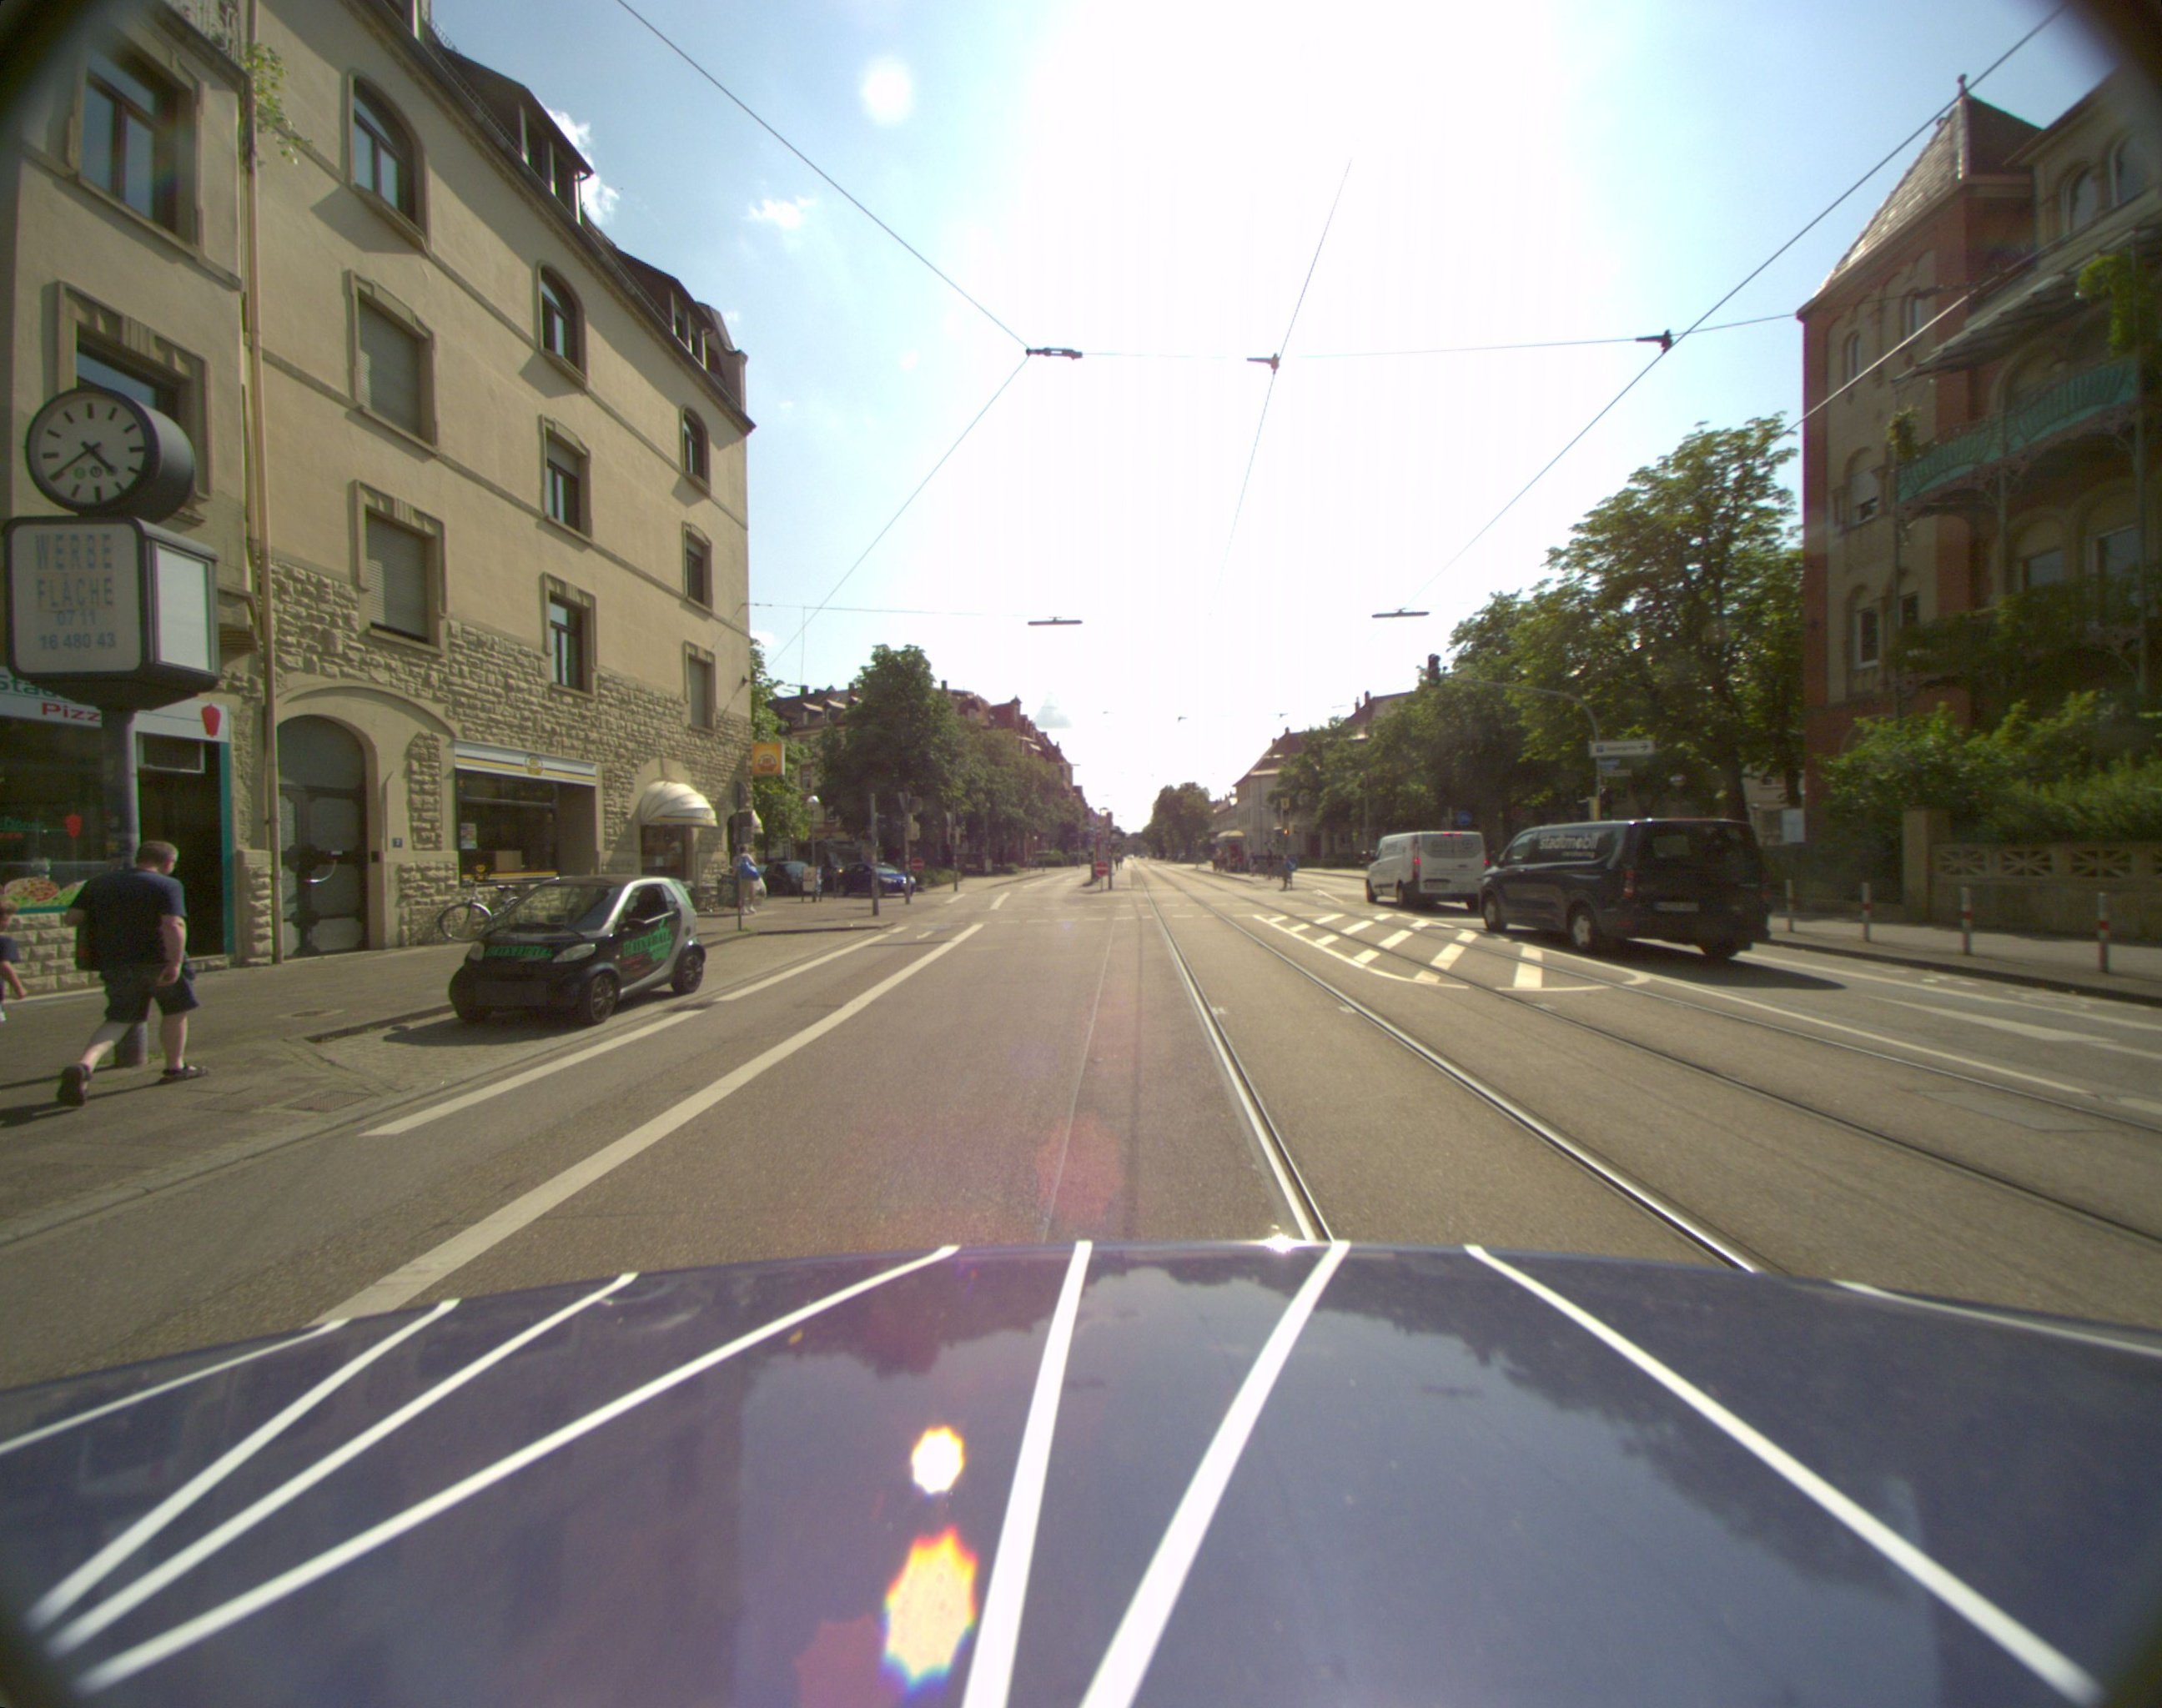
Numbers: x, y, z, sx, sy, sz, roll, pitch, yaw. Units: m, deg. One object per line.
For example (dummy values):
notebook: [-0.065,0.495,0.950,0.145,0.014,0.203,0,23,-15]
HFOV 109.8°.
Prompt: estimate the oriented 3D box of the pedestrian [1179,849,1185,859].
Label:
pedestrian: [15.709,0.042,118.060,0.805,1.465,0.806,-1,1,-1]

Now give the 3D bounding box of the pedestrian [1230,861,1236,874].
pedestrian: [11.139,0.974,55.791,0.340,0.925,0.346,1,1,-3]

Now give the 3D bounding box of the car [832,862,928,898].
car: [-8.540,1.072,32.118,3.988,1.410,1.896,-1,0,39]

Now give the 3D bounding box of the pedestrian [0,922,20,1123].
pedestrian: [-7.392,1.105,4.838,0.571,1.318,0.442,4,1,-4]

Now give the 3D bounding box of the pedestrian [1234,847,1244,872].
pedestrian: [10.722,0.377,51.492,0.473,1.647,0.746,4,1,3]

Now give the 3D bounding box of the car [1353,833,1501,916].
car: [9.171,0.510,20.702,1.998,1.983,5.090,0,0,4]

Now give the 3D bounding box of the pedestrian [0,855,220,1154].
pedestrian: [-6.631,0.938,5.116,0.661,1.831,0.873,2,1,-4]

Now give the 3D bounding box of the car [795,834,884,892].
car: [-12.783,0.505,39.866,2.396,2.777,6.658,-2,0,-36]

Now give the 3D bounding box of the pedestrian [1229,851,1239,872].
pedestrian: [10.676,0.548,53.025,0.530,1.448,0.692,1,1,2]

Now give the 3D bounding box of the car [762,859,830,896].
car: [-13.617,1.091,36.167,1.731,1.546,4.102,-5,2,-38]

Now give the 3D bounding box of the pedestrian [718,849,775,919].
pedestrian: [-8.833,0.775,20.096,1.013,1.758,0.850,3,0,5]

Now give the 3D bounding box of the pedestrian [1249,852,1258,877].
pedestrian: [10.407,0.619,45.893,0.428,1.495,0.704,0,1,3]

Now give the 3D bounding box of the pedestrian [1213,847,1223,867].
pedestrian: [11.222,0.258,62.370,0.657,1.598,0.638,1,1,-2]

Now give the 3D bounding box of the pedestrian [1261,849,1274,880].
pedestrian: [9.585,0.544,38.966,0.538,1.533,0.516,-1,-1,3]

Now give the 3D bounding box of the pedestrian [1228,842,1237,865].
pedestrian: [11.167,-0.019,55.935,0.498,1.660,0.678,1,1,-2]

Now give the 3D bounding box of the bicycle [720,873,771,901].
bicycle: [-14.565,1.430,33.023,0.586,1.133,1.977,-2,-1,38]

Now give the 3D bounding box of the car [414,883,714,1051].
car: [-5.744,1.160,8.833,1.517,1.490,2.794,1,0,1]

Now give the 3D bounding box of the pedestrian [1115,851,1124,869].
pedestrian: [3.416,0.559,67.192,0.702,1.524,0.557,-3,1,3]

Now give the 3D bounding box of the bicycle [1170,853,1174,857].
bicycle: [20.928,0.253,174.905,0.755,0.844,1.618,-1,0,-1]

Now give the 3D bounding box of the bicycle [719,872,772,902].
bicycle: [-14.221,1.384,32.276,0.586,1.202,1.977,-2,-1,38]

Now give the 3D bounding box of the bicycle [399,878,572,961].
bicycle: [-10.457,1.089,13.535,0.807,1.171,2.752,-3,1,1]

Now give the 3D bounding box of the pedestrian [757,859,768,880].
pedestrian: [-25.453,1.236,60.777,0.560,1.690,0.534,-3,1,2]

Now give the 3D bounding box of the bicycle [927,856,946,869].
bicycle: [-12.483,0.729,65.532,1.661,1.109,0.524,-3,1,32]

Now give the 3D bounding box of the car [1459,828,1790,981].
car: [8.180,0.604,12.239,1.931,1.906,5.125,1,1,5]

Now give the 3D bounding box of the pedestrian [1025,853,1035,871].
pedestrian: [-4.703,0.711,69.985,0.706,1.644,0.534,-3,1,3]

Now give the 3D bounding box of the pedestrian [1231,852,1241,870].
pedestrian: [11.346,0.524,55.573,0.605,1.329,0.406,1,1,-2]

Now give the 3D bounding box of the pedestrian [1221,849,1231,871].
pedestrian: [11.273,0.457,59.159,0.657,1.632,0.639,2,1,3]
